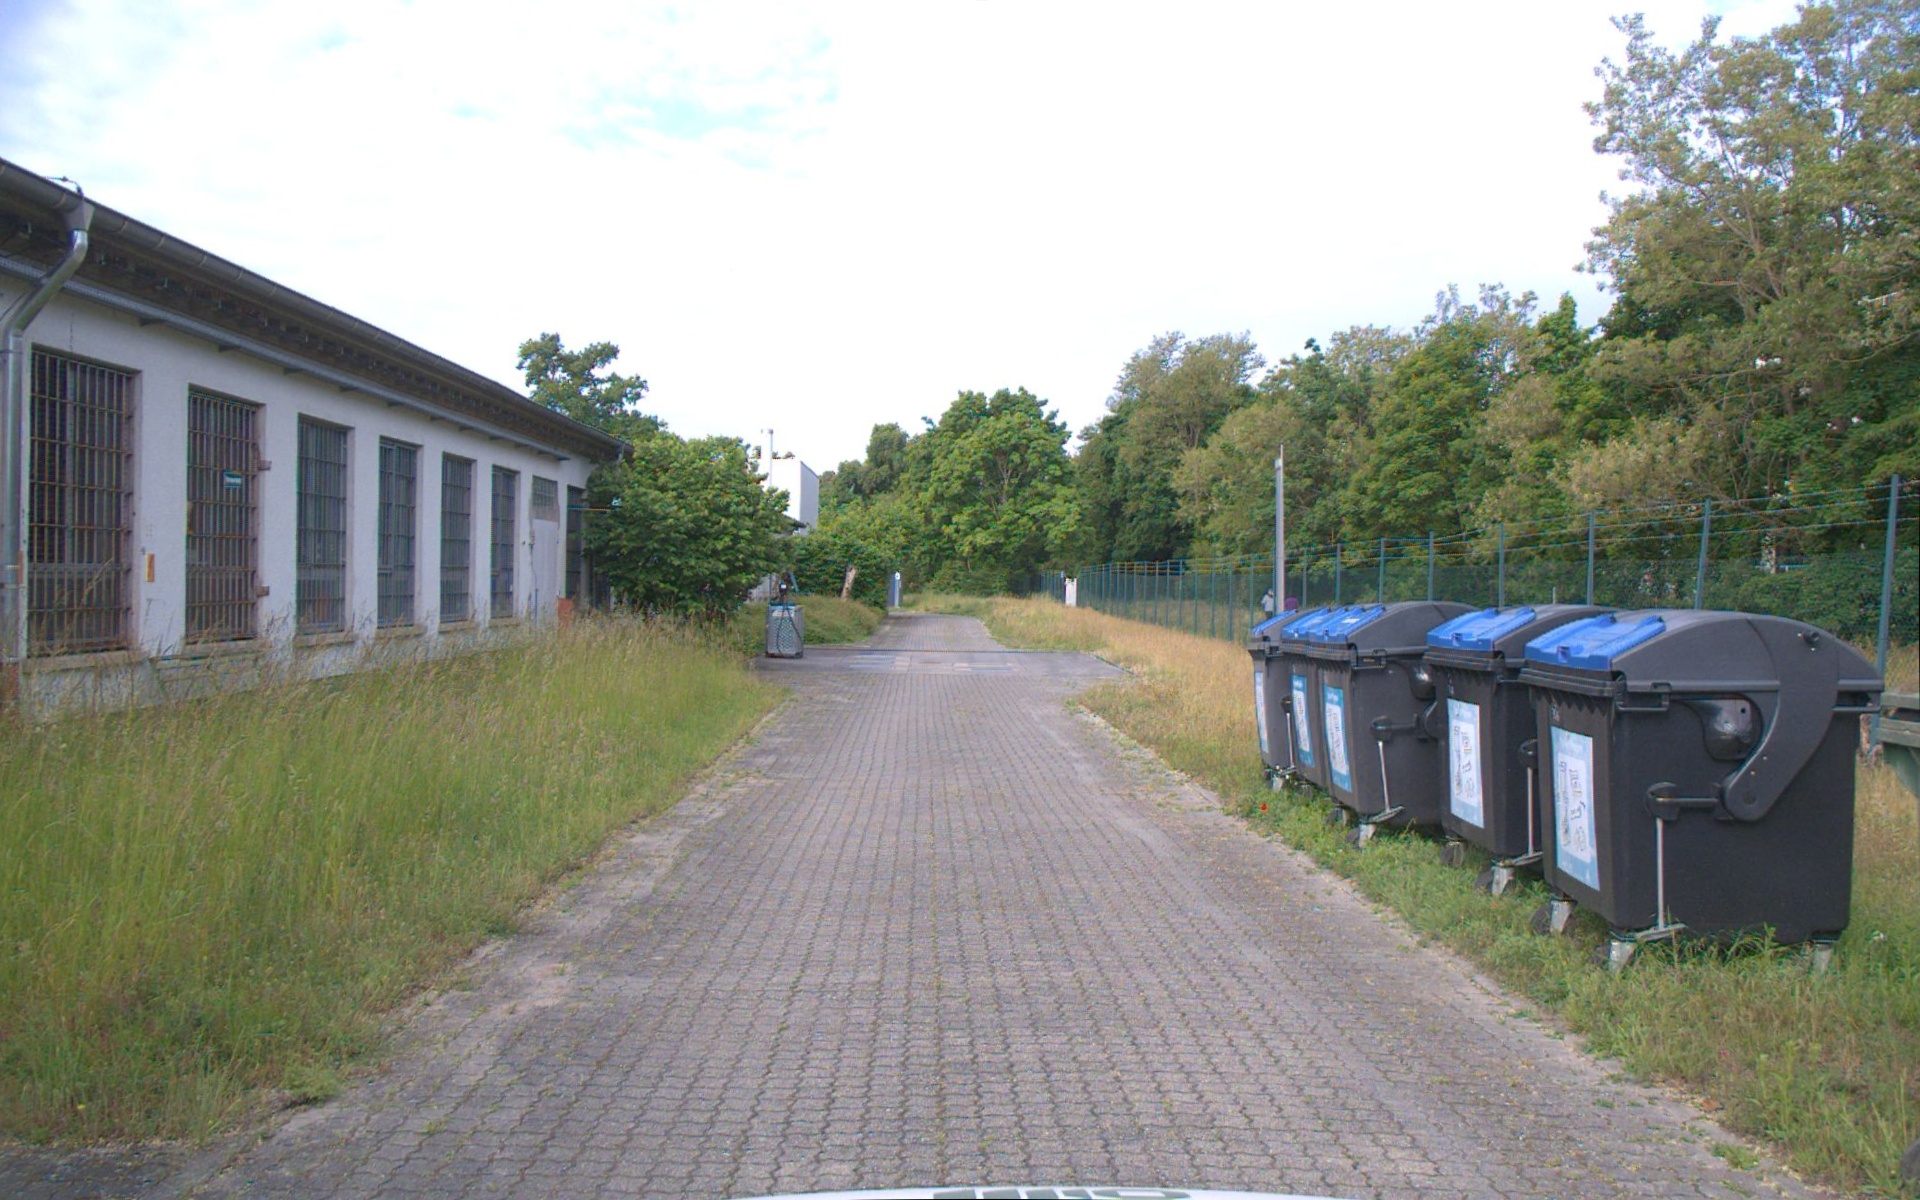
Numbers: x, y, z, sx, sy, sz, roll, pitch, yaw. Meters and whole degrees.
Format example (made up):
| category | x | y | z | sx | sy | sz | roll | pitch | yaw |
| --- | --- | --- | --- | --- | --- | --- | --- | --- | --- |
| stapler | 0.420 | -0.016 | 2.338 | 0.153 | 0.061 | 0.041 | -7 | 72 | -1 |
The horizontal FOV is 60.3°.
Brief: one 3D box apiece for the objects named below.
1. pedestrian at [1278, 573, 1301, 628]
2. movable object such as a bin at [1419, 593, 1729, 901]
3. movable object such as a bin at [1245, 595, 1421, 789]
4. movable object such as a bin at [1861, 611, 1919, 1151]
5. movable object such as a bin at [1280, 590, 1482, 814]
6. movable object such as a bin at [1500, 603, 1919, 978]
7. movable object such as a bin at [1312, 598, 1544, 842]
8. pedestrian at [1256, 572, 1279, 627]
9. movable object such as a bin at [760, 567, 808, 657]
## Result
| category | x | y | z | sx | sy | sz | roll | pitch | yaw |
| --- | --- | --- | --- | --- | --- | --- | --- | --- | --- |
| pedestrian | 12.362 | 0.000 | 62.061 | 0.744 | 2.049 | 0.664 | 0 | 0 | -2 |
| movable object such as a bin | 3.043 | 0.678 | 8.394 | 1.099 | 1.398 | 1.494 | 1 | 0 | 4 |
| movable object such as a bin | 2.796 | 0.659 | 12.571 | 1.099 | 1.374 | 1.426 | 1 | 0 | 4 |
| movable object such as a bin | 2.920 | 0.695 | 3.639 | 1.100 | 1.319 | 1.379 | 1 | 0 | -2 |
| movable object such as a bin | 2.808 | 0.649 | 11.195 | 1.099 | 1.403 | 1.326 | 1 | 0 | 4 |
| movable object such as a bin | 2.991 | 0.698 | 6.811 | 1.130 | 1.348 | 1.494 | 1 | 0 | 4 |
| movable object such as a bin | 2.749 | 0.665 | 9.892 | 1.099 | 1.344 | 1.326 | 0 | 0 | 5 |
| pedestrian | 11.583 | -0.030 | 62.346 | 0.744 | 2.049 | 0.664 | 0 | 0 | -2 |
| movable object such as a bin | -3.992 | 0.272 | 37.640 | 0.915 | 2.017 | 0.854 | 0 | 0 | 7 |
